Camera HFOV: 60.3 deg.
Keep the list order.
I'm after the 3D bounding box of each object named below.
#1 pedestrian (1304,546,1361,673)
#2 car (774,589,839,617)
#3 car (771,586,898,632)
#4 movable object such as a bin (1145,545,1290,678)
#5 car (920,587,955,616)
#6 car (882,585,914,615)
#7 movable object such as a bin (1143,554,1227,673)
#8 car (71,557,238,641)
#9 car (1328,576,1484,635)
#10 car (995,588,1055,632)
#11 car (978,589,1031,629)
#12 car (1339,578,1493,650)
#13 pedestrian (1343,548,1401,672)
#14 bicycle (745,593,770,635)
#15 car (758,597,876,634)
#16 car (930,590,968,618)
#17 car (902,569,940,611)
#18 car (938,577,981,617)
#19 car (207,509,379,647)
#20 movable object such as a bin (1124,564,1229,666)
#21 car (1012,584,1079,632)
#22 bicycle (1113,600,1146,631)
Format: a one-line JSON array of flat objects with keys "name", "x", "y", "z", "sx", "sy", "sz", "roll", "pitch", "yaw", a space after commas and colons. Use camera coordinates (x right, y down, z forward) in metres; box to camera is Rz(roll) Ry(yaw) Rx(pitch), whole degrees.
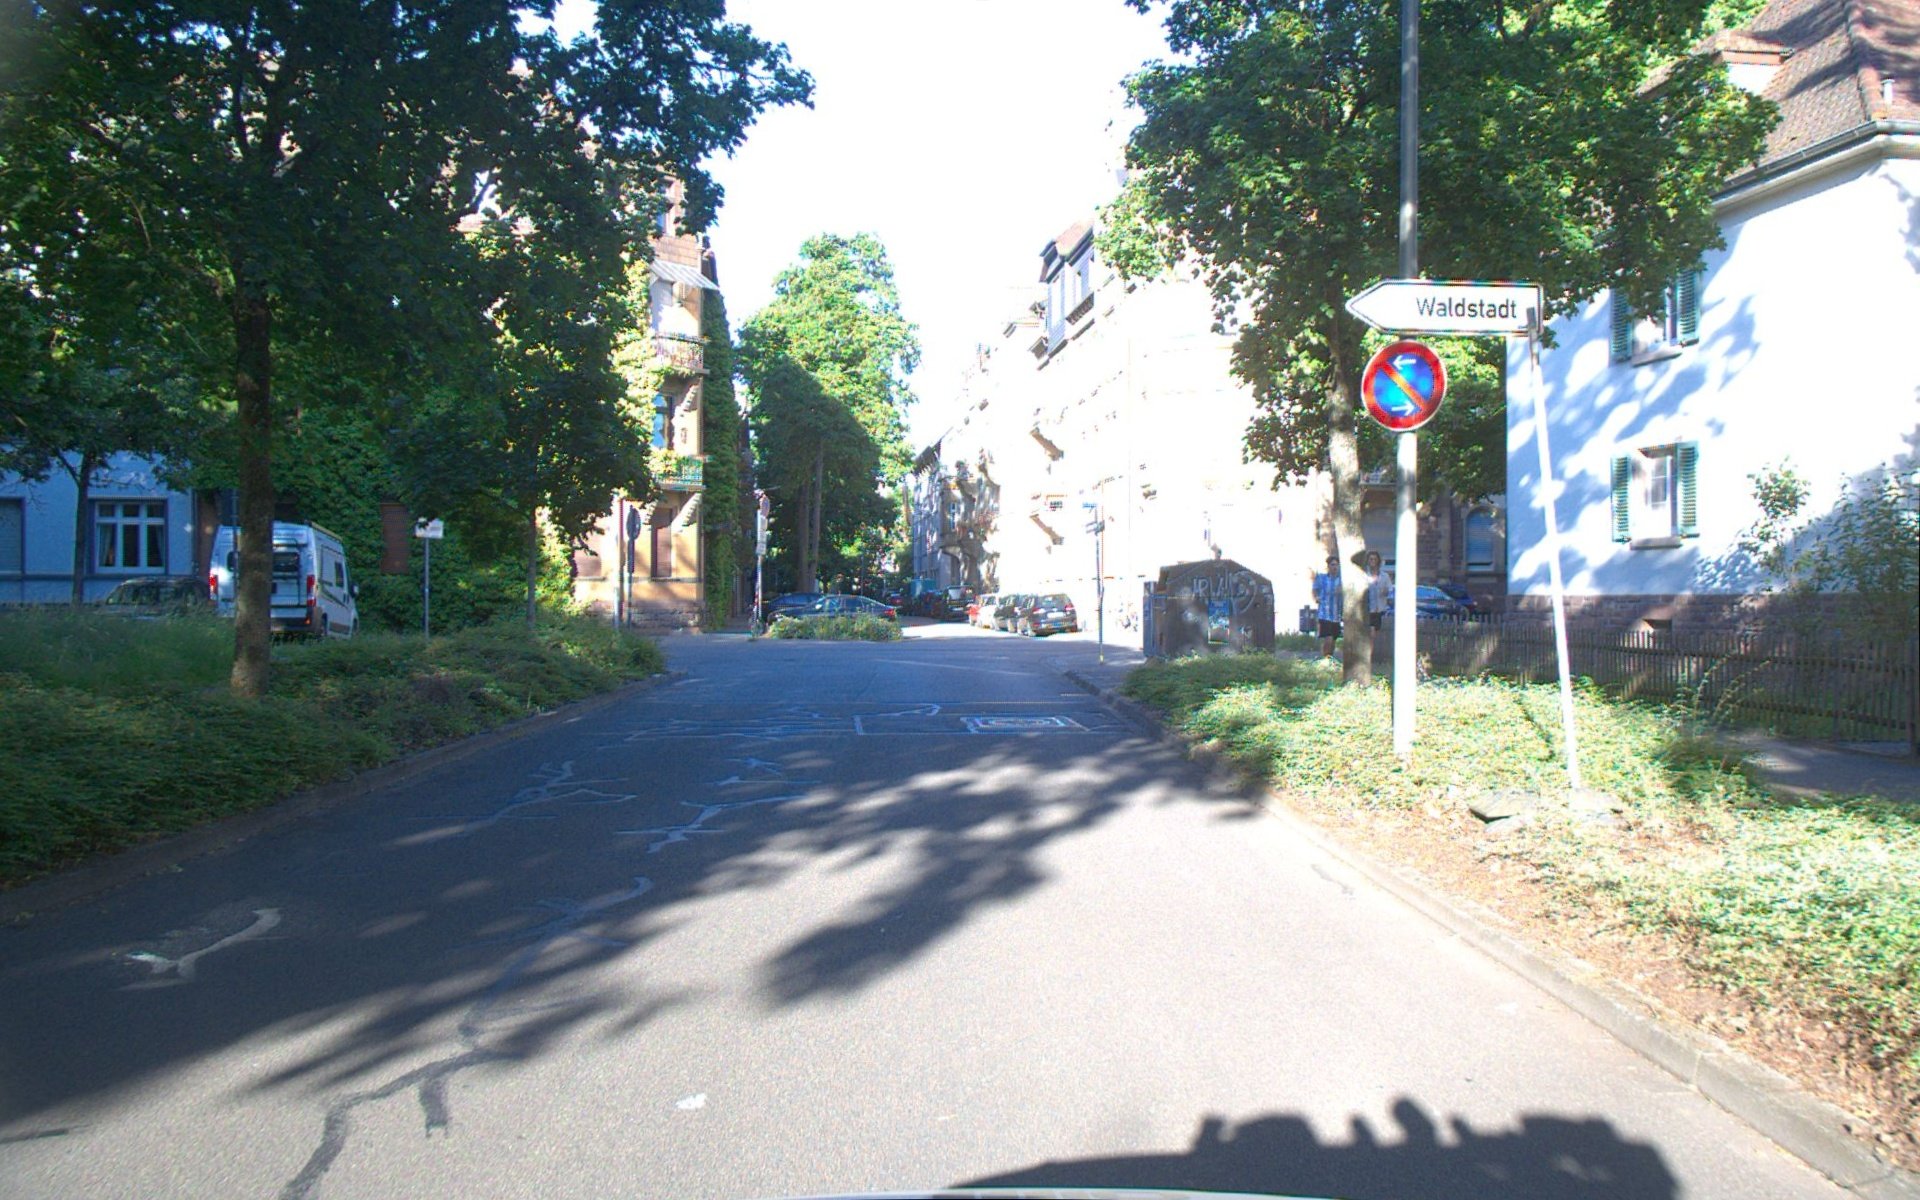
[{"name": "pedestrian", "x": 5.779, "y": 0.140, "z": 25.710, "sx": 0.659, "sy": 1.927, "sz": 0.895, "roll": 1, "pitch": 0, "yaw": -1}, {"name": "car", "x": -9.068, "y": 0.183, "z": 97.615, "sx": 3.730, "sy": 1.603, "sz": 1.707, "roll": 1, "pitch": 0, "yaw": -9}, {"name": "car", "x": -4.264, "y": 0.307, "z": 55.924, "sx": 4.164, "sy": 1.460, "sz": 1.996, "roll": 1, "pitch": 0, "yaw": -8}, {"name": "movable object such as a bin", "x": 3.791, "y": 0.173, "z": 24.510, "sx": 1.881, "sy": 1.886, "sz": 1.393, "roll": 1, "pitch": 0, "yaw": -2}, {"name": "car", "x": -1.382, "y": 0.078, "z": 101.753, "sx": 1.768, "sy": 1.708, "sz": 3.994, "roll": 1, "pitch": 0, "yaw": -6}, {"name": "car", "x": -4.865, "y": -0.025, "z": 128.949, "sx": 2.124, "sy": 2.276, "sz": 4.784, "roll": 1, "pitch": 0, "yaw": -6}, {"name": "movable object such as a bin", "x": 3.620, "y": 0.219, "z": 26.756, "sx": 1.124, "sy": 1.859, "sz": 1.386, "roll": 1, "pitch": 0, "yaw": -1}, {"name": "car", "x": -16.563, "y": -0.021, "z": 34.253, "sx": 1.936, "sy": 1.602, "sz": 4.290, "roll": 1, "pitch": 0, "yaw": -10}, {"name": "car", "x": 13.349, "y": 0.162, "z": 49.556, "sx": 4.169, "sy": 1.650, "sz": 1.731, "roll": 1, "pitch": 1, "yaw": -11}, {"name": "car", "x": 2.493, "y": 0.381, "z": 64.248, "sx": 1.704, "sy": 1.609, "sz": 3.994, "roll": 1, "pitch": 0, "yaw": -6}, {"name": "car", "x": 1.844, "y": 0.378, "z": 69.734, "sx": 1.704, "sy": 1.609, "sz": 3.994, "roll": 1, "pitch": 0, "yaw": -6}, {"name": "car", "x": 10.650, "y": 0.356, "z": 38.916, "sx": 1.957, "sy": 1.583, "sz": 3.989, "roll": 1, "pitch": -2, "yaw": -10}, {"name": "pedestrian", "x": 6.534, "y": 0.154, "z": 26.277, "sx": 0.629, "sy": 1.927, "sz": 1.018, "roll": 1, "pitch": 0, "yaw": -1}, {"name": "bicycle", "x": -6.320, "y": 0.421, "z": 51.764, "sx": 0.551, "sy": 1.290, "sz": 1.603, "roll": -1, "pitch": 0, "yaw": 1}, {"name": "car", "x": -5.916, "y": 0.638, "z": 68.248, "sx": 4.744, "sy": 1.460, "sz": 1.707, "roll": 1, "pitch": 0, "yaw": -9}, {"name": "car", "x": -0.662, "y": 0.240, "z": 95.057, "sx": 1.768, "sy": 1.541, "sz": 3.994, "roll": 1, "pitch": 0, "yaw": -6}, {"name": "car", "x": -2.686, "y": -0.642, "z": 111.969, "sx": 2.124, "sy": 2.738, "sz": 4.784, "roll": 1, "pitch": 0, "yaw": -6}, {"name": "car", "x": -0.057, "y": -0.157, "z": 86.619, "sx": 1.768, "sy": 2.039, "sz": 3.994, "roll": 1, "pitch": 0, "yaw": -6}, {"name": "car", "x": -14.044, "y": -0.424, "z": 35.205, "sx": 2.191, "sy": 2.660, "sz": 5.619, "roll": 1, "pitch": 0, "yaw": -10}, {"name": "movable object such as a bin", "x": 3.695, "y": 0.254, "z": 28.410, "sx": 1.554, "sy": 1.686, "sz": 1.639, "roll": 1, "pitch": 0, "yaw": -2}, {"name": "car", "x": 2.979, "y": 0.282, "z": 58.272, "sx": 1.704, "sy": 1.609, "sz": 3.994, "roll": 1, "pitch": 0, "yaw": -6}, {"name": "bicycle", "x": 5.597, "y": 0.497, "z": 54.764, "sx": 0.506, "sy": 1.015, "sz": 1.568, "roll": 1, "pitch": 0, "yaw": -18}]
